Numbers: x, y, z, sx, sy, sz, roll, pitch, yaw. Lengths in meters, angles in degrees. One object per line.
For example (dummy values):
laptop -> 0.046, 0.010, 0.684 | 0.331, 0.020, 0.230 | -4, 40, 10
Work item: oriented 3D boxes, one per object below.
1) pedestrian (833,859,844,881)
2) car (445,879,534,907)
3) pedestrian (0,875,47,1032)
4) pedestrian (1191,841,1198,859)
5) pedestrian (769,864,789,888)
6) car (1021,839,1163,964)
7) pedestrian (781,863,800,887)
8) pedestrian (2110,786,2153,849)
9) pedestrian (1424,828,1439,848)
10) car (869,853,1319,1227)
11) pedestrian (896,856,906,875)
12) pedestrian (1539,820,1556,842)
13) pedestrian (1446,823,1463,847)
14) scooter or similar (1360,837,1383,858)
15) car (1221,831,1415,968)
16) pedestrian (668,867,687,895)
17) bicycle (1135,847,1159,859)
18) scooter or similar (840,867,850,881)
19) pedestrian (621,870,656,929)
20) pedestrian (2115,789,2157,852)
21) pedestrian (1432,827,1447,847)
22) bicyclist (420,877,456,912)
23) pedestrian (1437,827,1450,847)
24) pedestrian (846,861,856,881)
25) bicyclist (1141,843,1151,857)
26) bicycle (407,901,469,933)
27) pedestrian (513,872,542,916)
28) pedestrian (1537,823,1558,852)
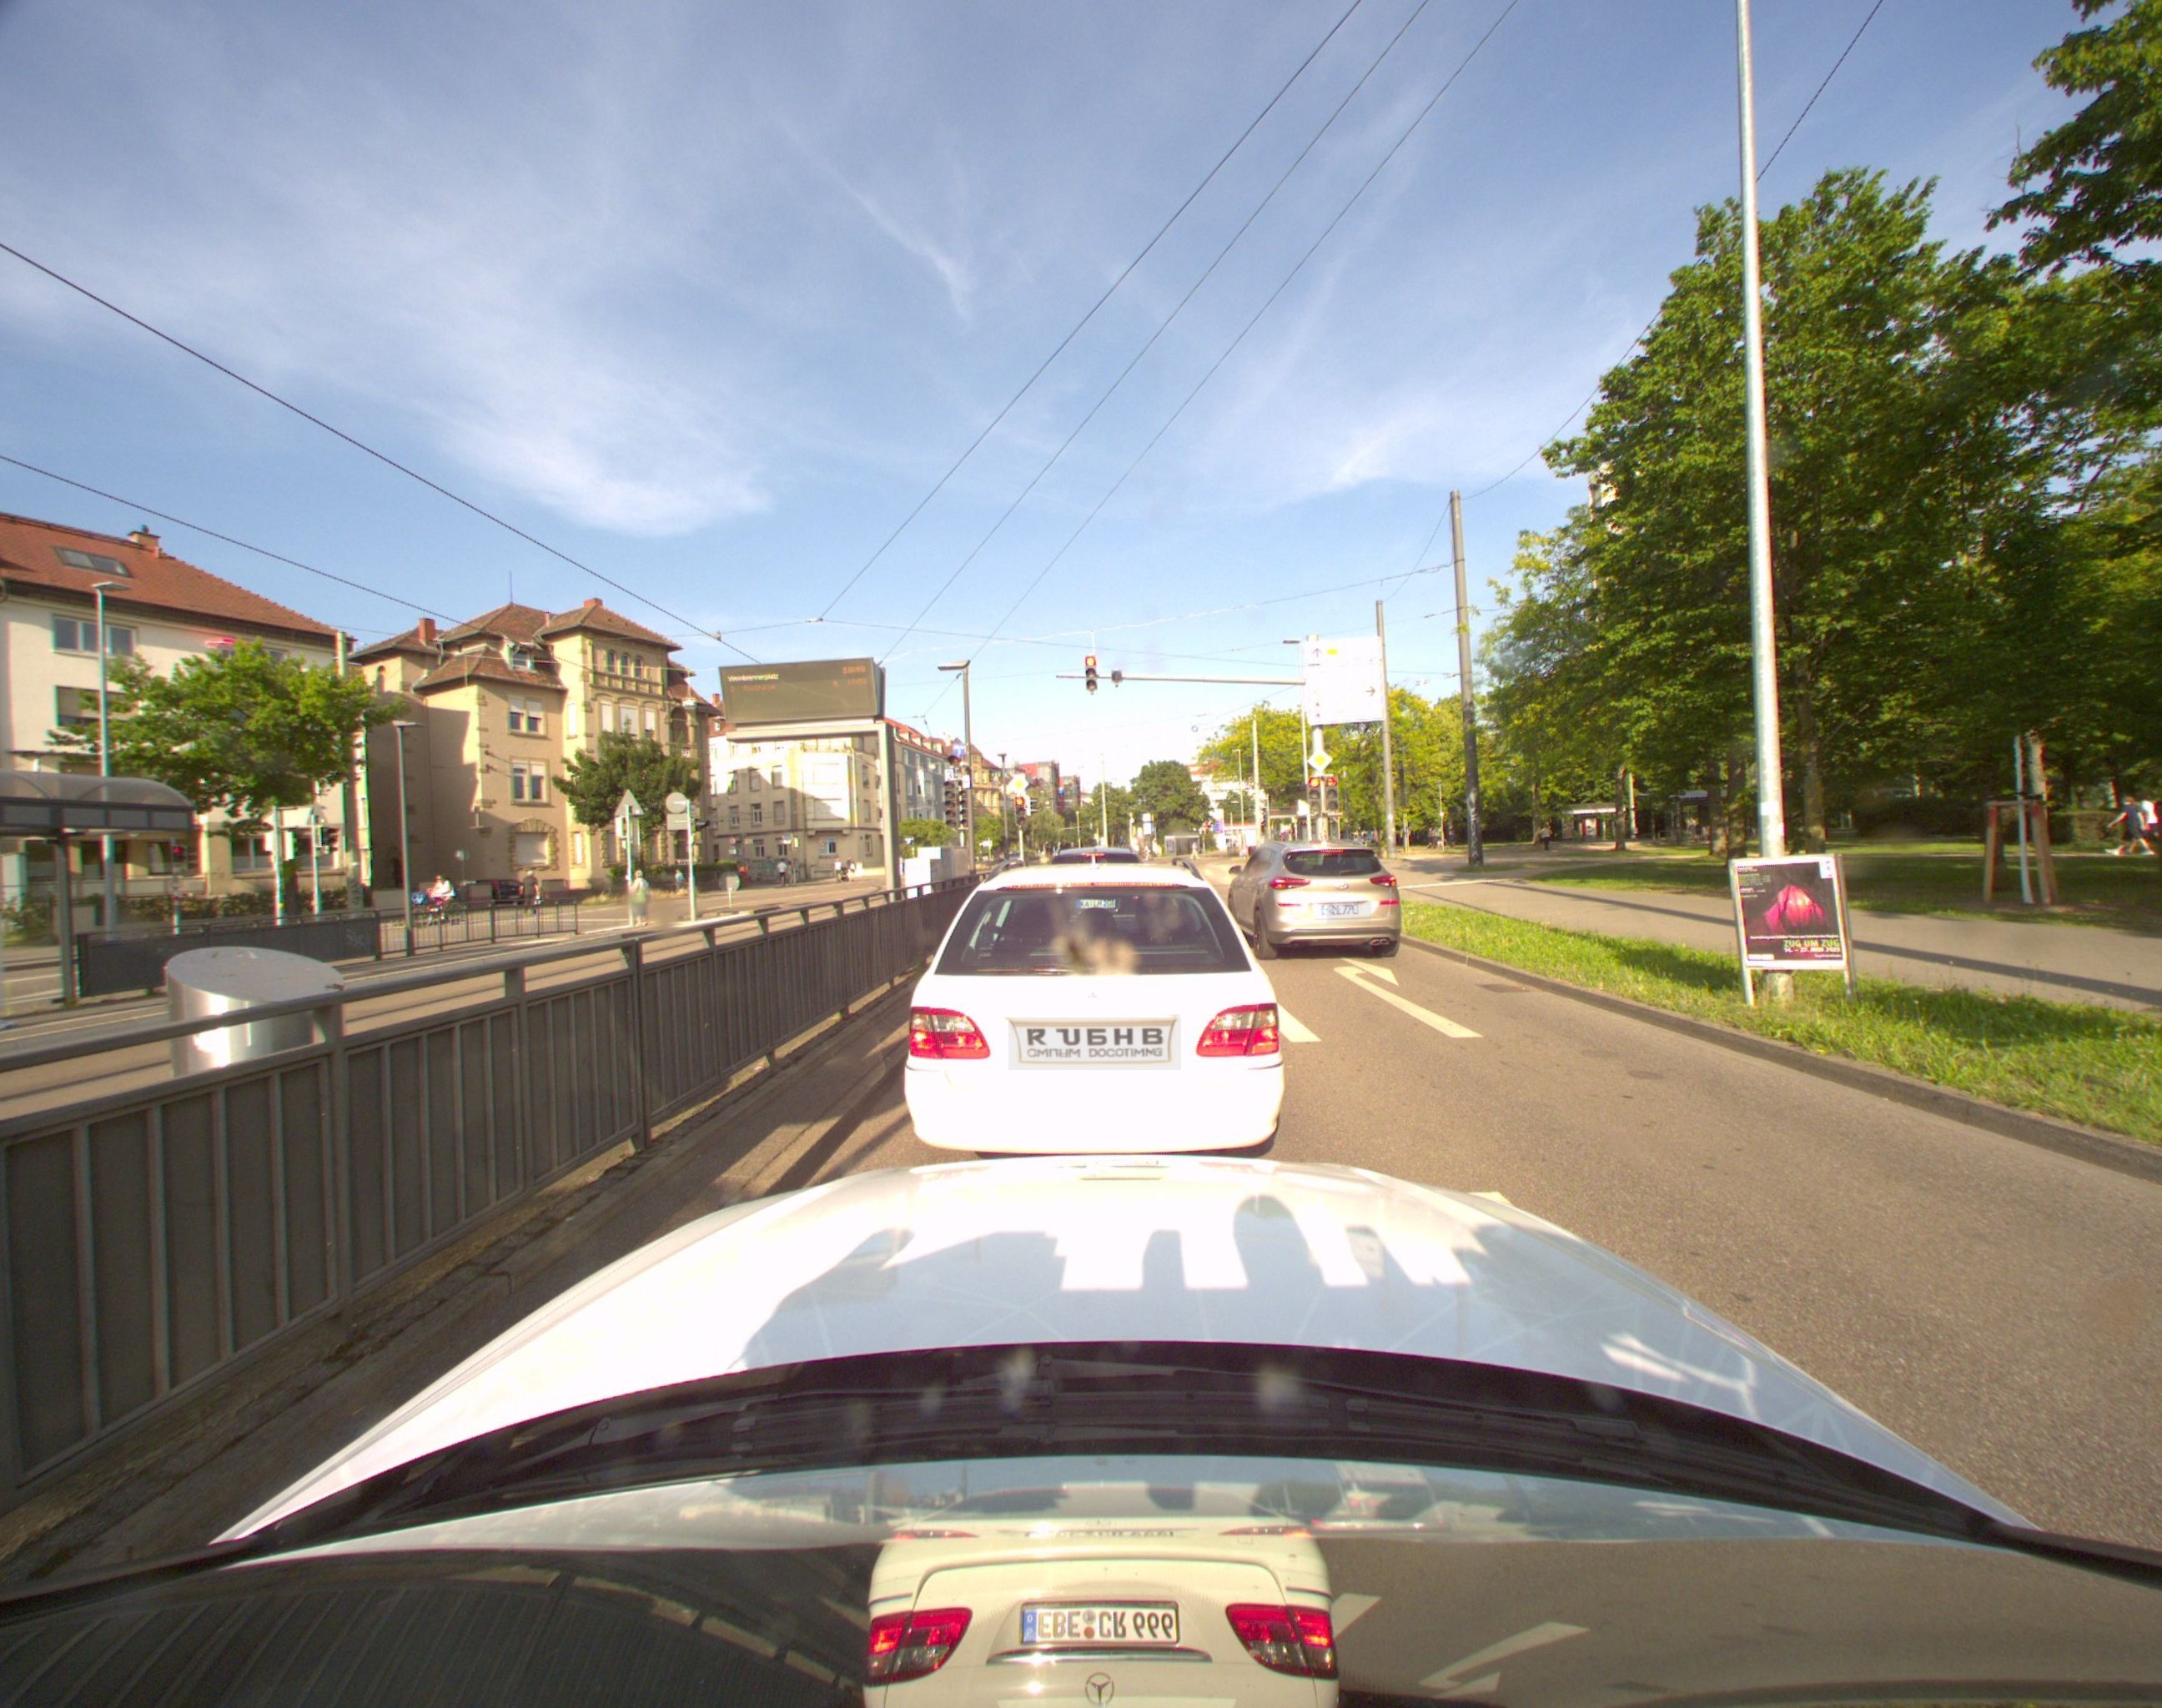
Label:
pedestrian -> -17.944, 1.195, 60.290 | 0.506, 1.626, 0.609 | -3, 0, 3
car -> -29.450, 1.910, 40.565 | 4.066, 1.310, 1.774 | -1, -1, 24
pedestrian -> -11.917, 1.100, 8.655 | 0.551, 1.684, 0.878 | -6, 0, 2
pedestrian -> 11.706, -0.420, 83.980 | 0.638, 1.857, 0.554 | -3, 0, 13
pedestrian -> -20.166, 1.480, 54.398 | 0.822, 1.552, 0.786 | -3, 0, 23
car -> 0.211, 0.626, 12.695 | 1.878, 1.651, 3.649 | 0, 0, 2
pedestrian -> -19.325, 1.412, 54.175 | 0.822, 1.552, 0.786 | -3, 0, 23
pedestrian -> 30.865, -1.069, 23.931 | 0.503, 1.811, 0.624 | -3, 0, -24
pedestrian -> 27.259, -1.232, 63.294 | 0.820, 1.487, 0.692 | -3, 0, -40
car -> 0.096, 0.751, 5.115 | 1.789, 1.470, 3.648 | -1, 0, 1
pedestrian -> -16.096, 1.013, 72.957 | 0.625, 1.660, 0.579 | -3, 0, -40
pedestrian -> 36.771, -1.800, 64.165 | 0.831, 1.636, 0.804 | -3, 0, 8
pedestrian -> 29.123, -1.468, 63.503 | 0.797, 1.785, 0.838 | -3, 0, -2
scooter or similar -> 16.120, -0.363, 45.185 | 0.421, 1.117, 1.322 | -3, 0, -18
car -> 3.328, 0.569, 12.191 | 1.878, 1.651, 3.649 | -3, 0, 2
pedestrian -> -23.151, 1.548, 46.764 | 0.626, 1.541, 0.711 | -3, 0, 1
bicycle -> 7.164, -0.082, 87.957 | 2.467, 1.213, 0.809 | -3, 0, 9
scooter or similar -> -17.745, 1.514, 61.309 | 0.541, 1.079, 0.683 | -1, -1, 1
pedestrian -> -12.410, 1.268, 22.853 | 0.611, 1.599, 0.632 | -3, 0, -5
pedestrian -> 31.507, -0.997, 24.326 | 0.504, 1.811, 0.624 | -3, 0, -27
pedestrian -> 28.107, -1.314, 63.882 | 0.813, 1.487, 0.698 | -3, 0, -9
bicyclist -> -20.222, 1.253, 25.615 | 0.511, 1.044, 0.679 | -3, 0, 1
pedestrian -> 27.772, -1.294, 62.378 | 0.805, 1.487, 0.705 | -3, 0, 26
pedestrian -> -17.023, 1.252, 60.302 | 0.434, 1.500, 0.551 | -3, 0, 16
bicyclist -> 7.026, -0.454, 87.975 | 0.855, 1.482, 0.792 | -3, 0, 11
bicycle -> -20.179, 1.974, 25.599 | 0.524, 0.834, 1.687 | -3, 0, 1
pedestrian -> -21.759, 1.555, 32.011 | 0.798, 1.645, 0.748 | -3, 0, -42
pedestrian -> 27.271, -0.964, 47.592 | 0.758, 1.636, 0.800 | -3, 0, -38
